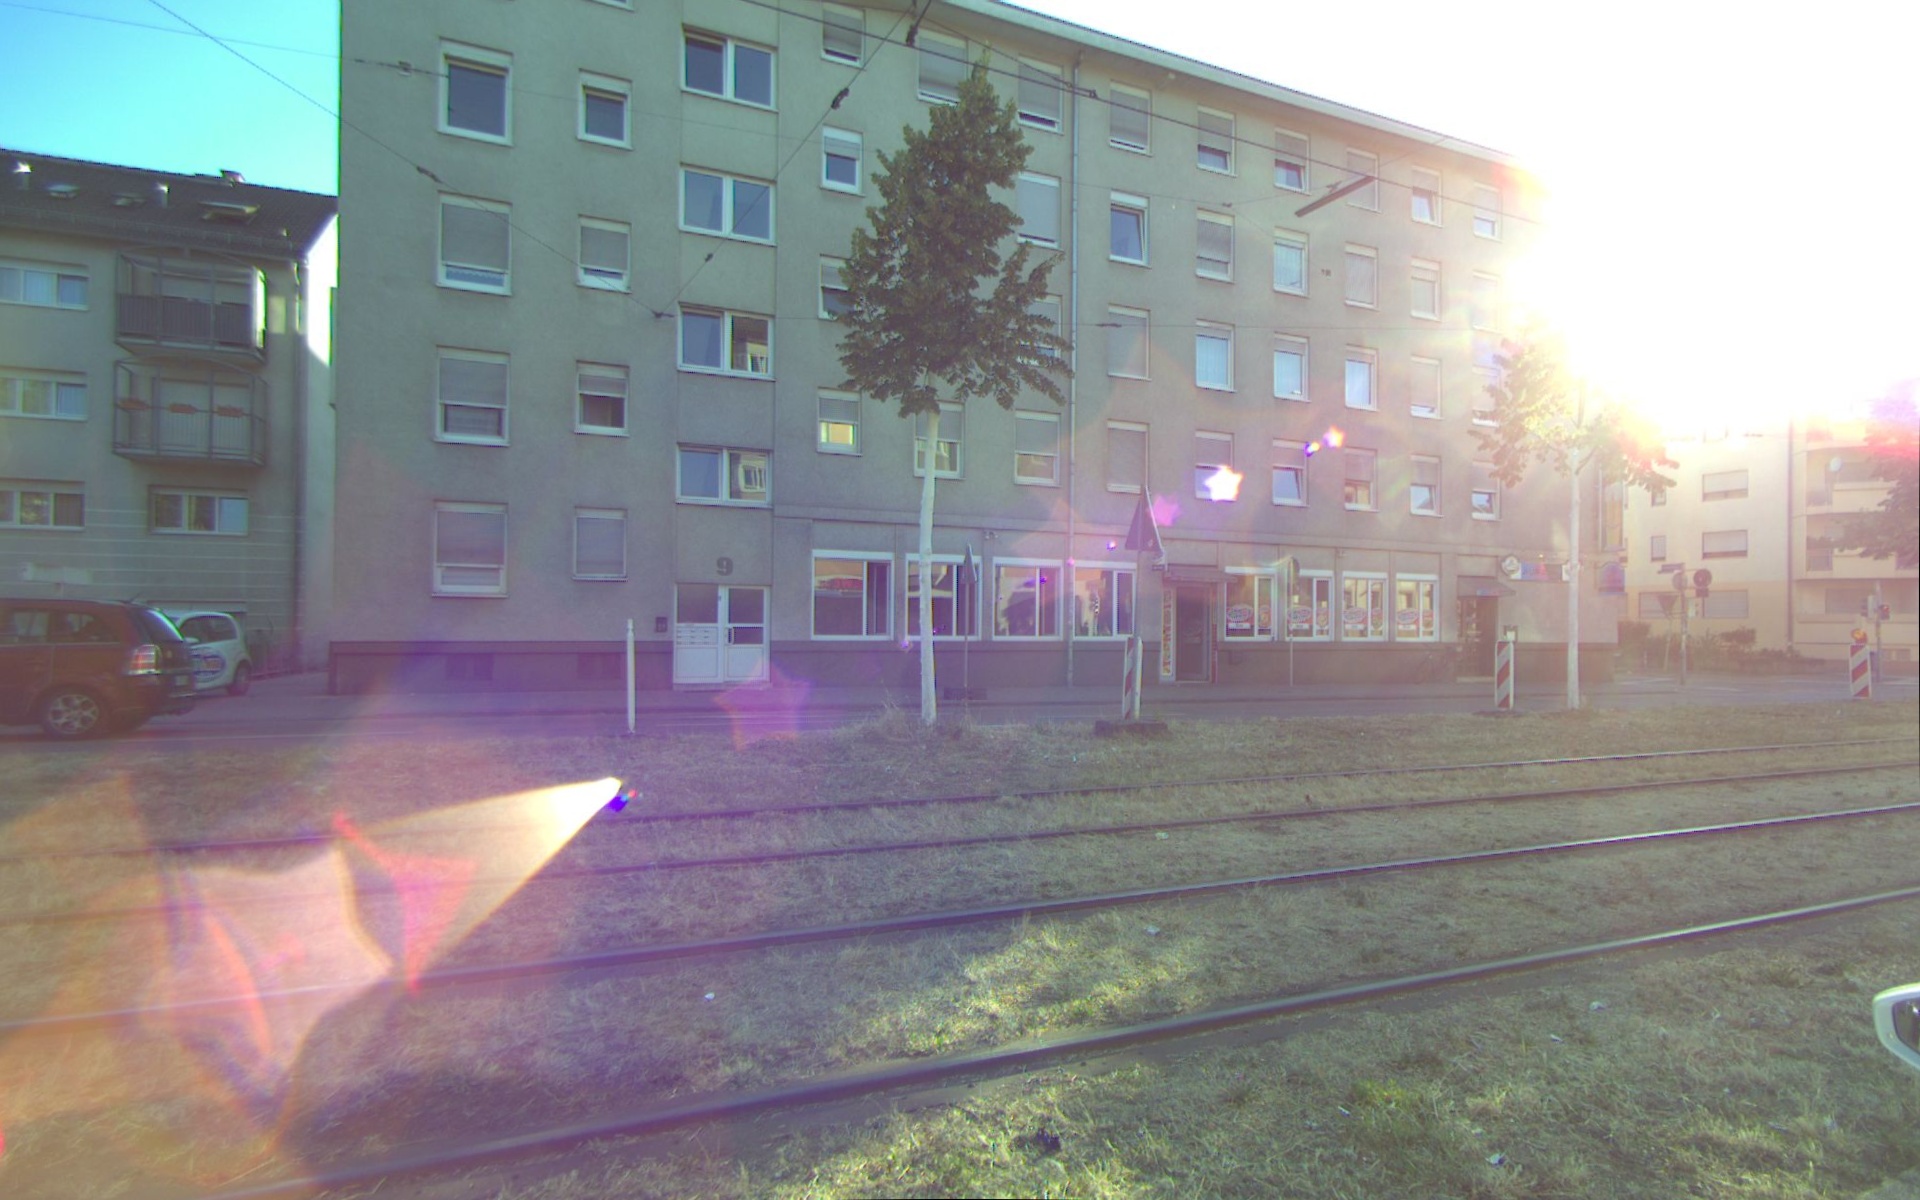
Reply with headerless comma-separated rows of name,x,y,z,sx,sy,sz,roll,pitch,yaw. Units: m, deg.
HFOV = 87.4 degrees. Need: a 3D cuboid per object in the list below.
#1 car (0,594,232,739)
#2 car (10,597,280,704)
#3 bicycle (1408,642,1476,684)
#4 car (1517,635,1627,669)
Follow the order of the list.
car,-11.586,0.734,11.542,4.866,1.580,1.807,2,-3,-24
car,-13.060,0.819,16.441,1.785,1.532,3.822,1,-2,-11
bicycle,13.321,1.724,27.785,1.753,1.129,0.745,1,-2,-24
car,27.803,2.330,45.756,1.771,1.458,3.936,2,-2,-33
